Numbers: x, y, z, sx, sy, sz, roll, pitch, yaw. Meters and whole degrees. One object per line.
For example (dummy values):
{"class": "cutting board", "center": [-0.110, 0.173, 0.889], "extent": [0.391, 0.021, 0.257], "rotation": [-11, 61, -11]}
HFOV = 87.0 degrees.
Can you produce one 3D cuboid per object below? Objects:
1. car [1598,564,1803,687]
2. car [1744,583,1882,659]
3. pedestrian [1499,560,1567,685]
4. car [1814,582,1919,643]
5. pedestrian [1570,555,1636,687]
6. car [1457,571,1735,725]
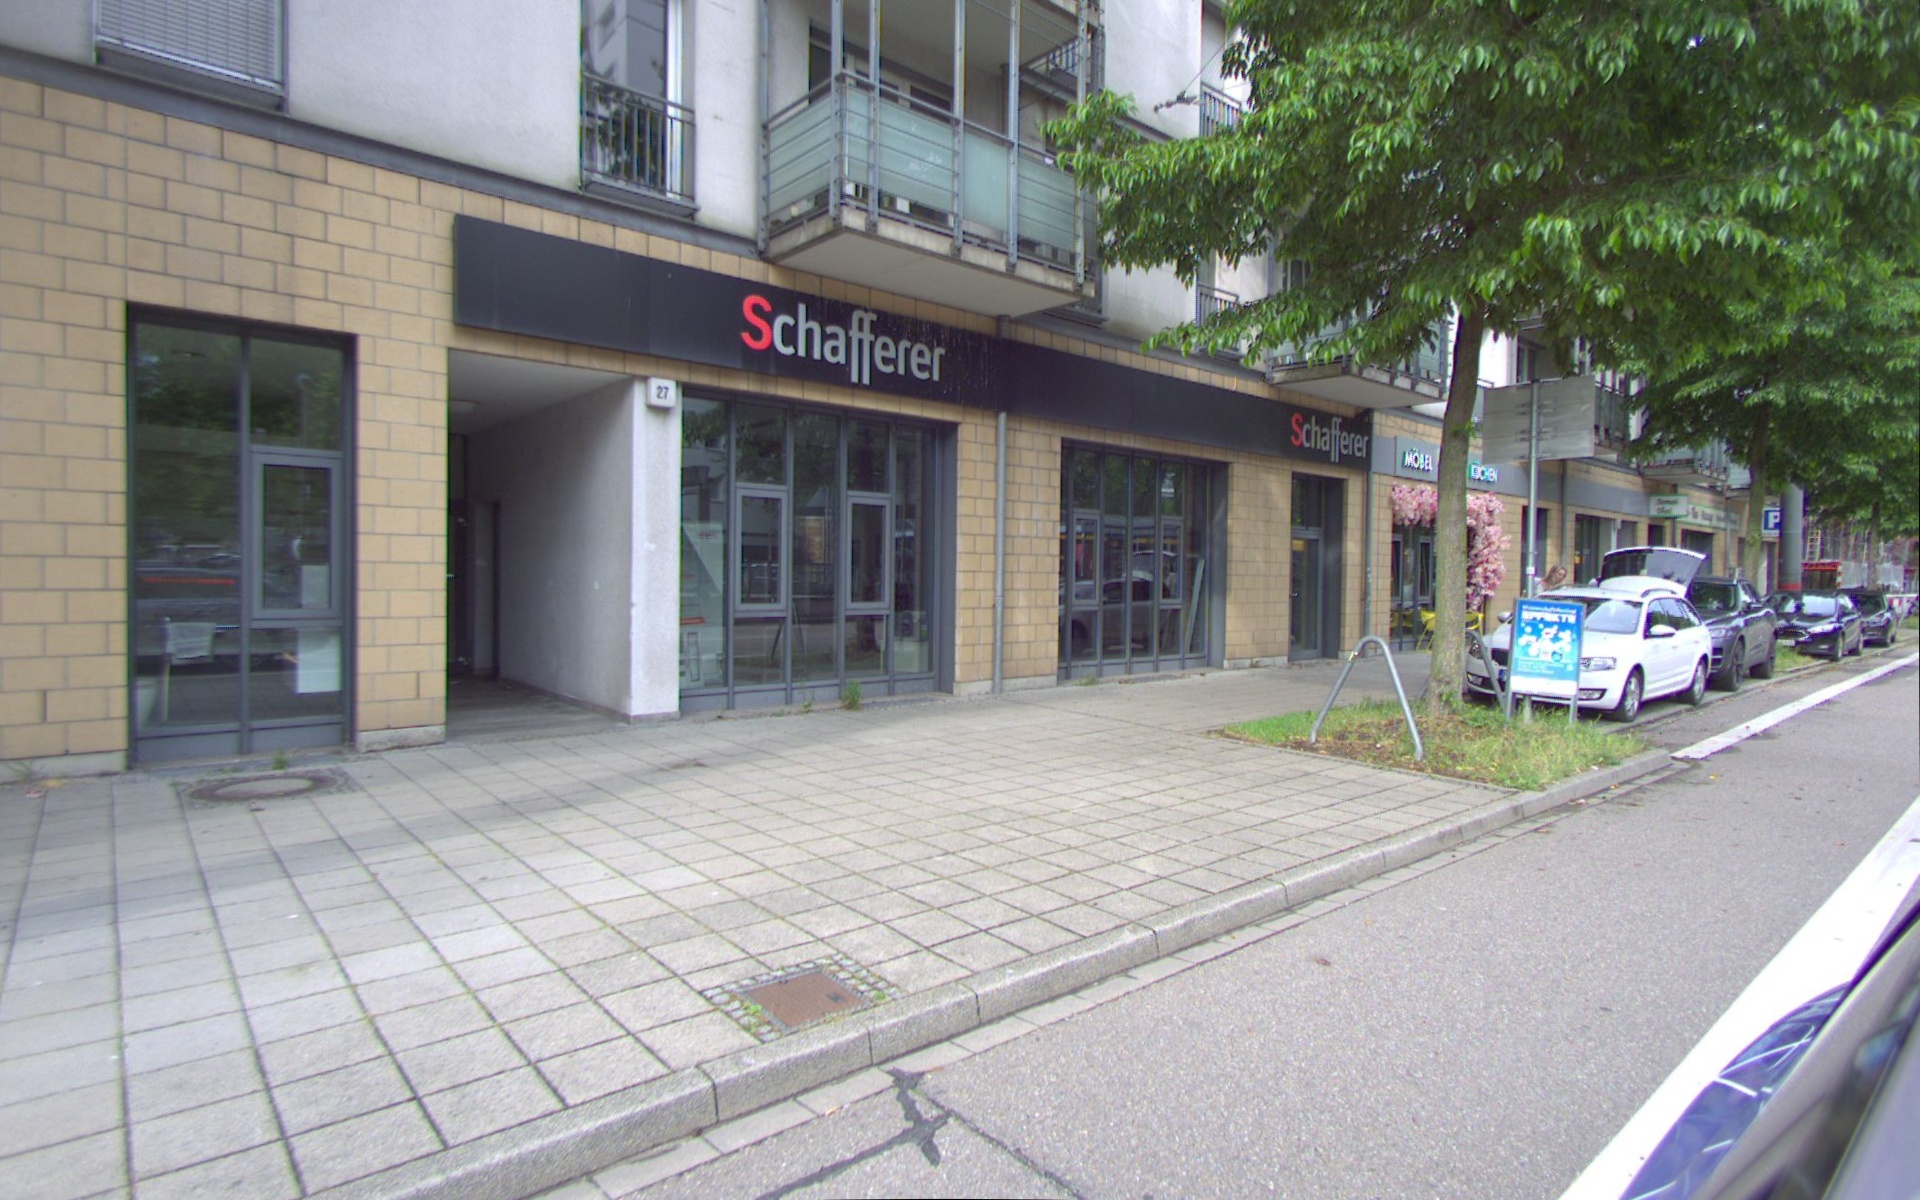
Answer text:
{"class": "car", "center": [11.782, 0.316, 16.027], "extent": [3.732, 1.630, 1.738], "rotation": [-1, 5, -41]}
{"class": "car", "center": [18.622, 0.384, 22.044], "extent": [4.095, 1.394, 1.612], "rotation": [-1, 5, -41]}
{"class": "pedestrian", "center": [8.270, 0.304, 14.609], "extent": [0.726, 1.738, 0.616], "rotation": [-1, 3, -43]}
{"class": "car", "center": [24.143, 0.285, 26.870], "extent": [3.603, 1.417, 1.612], "rotation": [-1, 5, -41]}
{"class": "pedestrian", "center": [9.511, 0.291, 14.969], "extent": [0.588, 1.907, 0.656], "rotation": [0, 1, -41]}
{"class": "car", "center": [8.110, 0.472, 12.754], "extent": [4.233, 1.539, 1.738], "rotation": [-1, 5, -41]}
